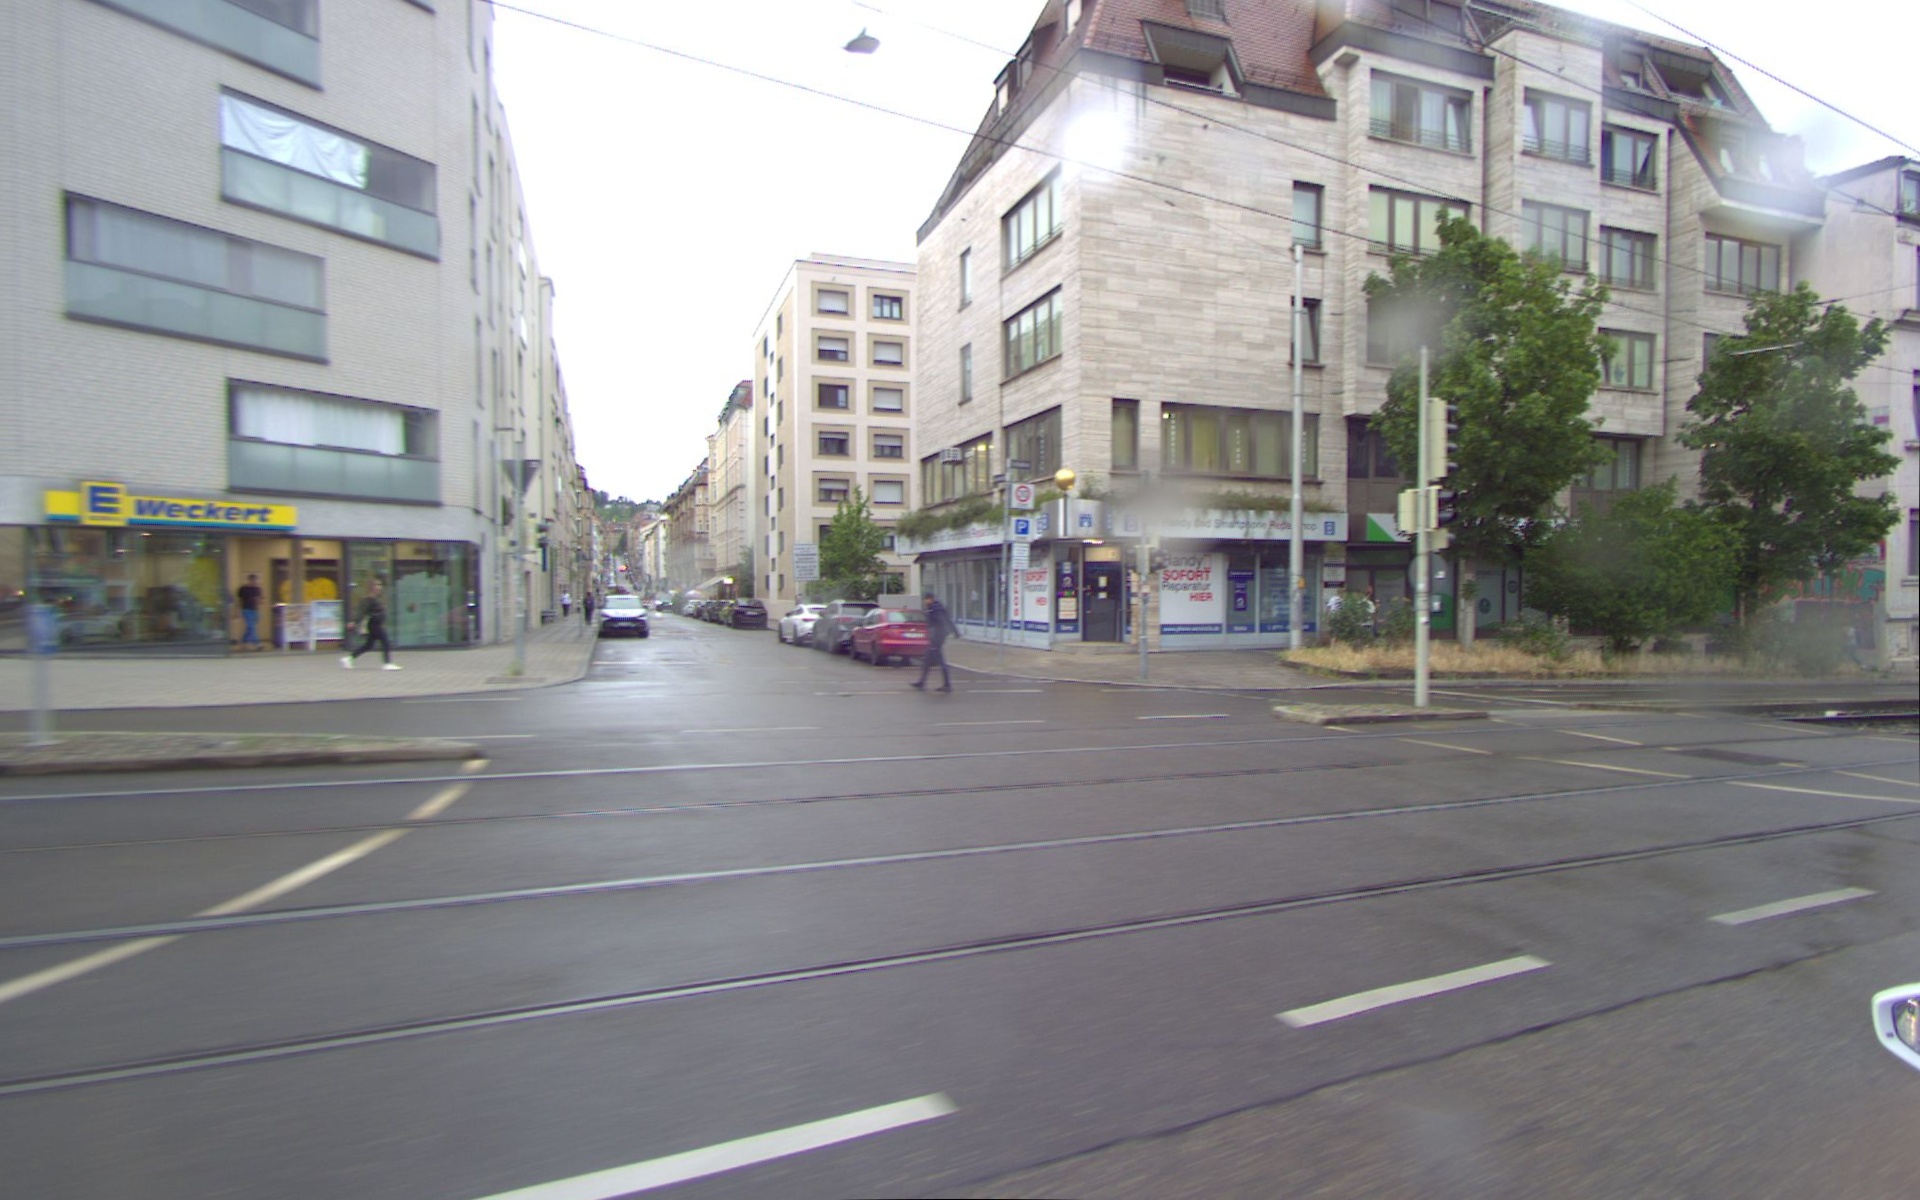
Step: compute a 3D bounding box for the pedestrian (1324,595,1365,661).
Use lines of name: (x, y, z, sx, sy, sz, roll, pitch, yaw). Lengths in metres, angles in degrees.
pedestrian: (10.476, 0.758, 27.350, 0.674, 1.747, 0.646, 3, 2, -22)

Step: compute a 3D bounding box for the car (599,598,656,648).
car: (-13.080, 0.875, 39.658, 1.968, 1.617, 3.984, 3, 2, -17)

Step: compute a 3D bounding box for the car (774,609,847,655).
car: (-5.295, 1.079, 35.174, 1.570, 1.335, 4.480, 3, 0, -20)

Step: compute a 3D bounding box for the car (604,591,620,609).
car: (-35.513, -0.028, 102.419, 1.389, 1.594, 3.171, 3, 2, -21)

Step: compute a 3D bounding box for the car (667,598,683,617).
car: (-27.440, 0.670, 96.539, 1.360, 1.594, 3.046, 3, 2, -17)

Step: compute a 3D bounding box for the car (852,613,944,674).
car: (-1.662, 1.084, 25.939, 1.568, 1.335, 3.693, 3, 0, -16)

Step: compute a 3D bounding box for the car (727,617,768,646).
car: (-11.350, 1.645, 53.489, 1.570, 1.335, 3.688, 3, 0, -20)

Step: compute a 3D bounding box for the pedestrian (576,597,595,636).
pedestrian: (-19.943, 0.882, 53.510, 0.804, 1.975, 0.855, 3, 2, -20)

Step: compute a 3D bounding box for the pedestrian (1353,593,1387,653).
pedestrian: (11.309, 0.631, 27.723, 0.577, 1.619, 0.503, 3, 2, -22)

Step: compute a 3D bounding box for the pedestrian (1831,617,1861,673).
pedestrian: (27.384, 1.396, 31.044, 0.576, 1.674, 0.465, 3, 2, -32)

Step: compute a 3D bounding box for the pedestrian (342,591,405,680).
pedestrian: (-10.843, 0.645, 18.572, 0.637, 1.590, 0.775, 2, 1, 32)

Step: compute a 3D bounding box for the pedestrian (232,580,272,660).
pedestrian: (-15.772, 0.440, 22.380, 0.581, 1.733, 0.696, 2, 2, -44)

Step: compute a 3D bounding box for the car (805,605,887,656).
car: (-3.524, 0.898, 30.563, 1.570, 1.335, 3.688, 3, 0, -20)

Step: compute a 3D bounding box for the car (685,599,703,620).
car: (-24.050, 0.850, 90.833, 1.360, 1.594, 3.046, 3, 2, -17)

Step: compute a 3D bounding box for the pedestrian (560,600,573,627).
pedestrian: (-24.789, 0.856, 63.285, 0.653, 1.609, 0.538, 3, 2, -18)

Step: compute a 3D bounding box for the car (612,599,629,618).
car: (-32.933, 0.783, 97.448, 1.389, 1.594, 3.171, 3, 2, -21)

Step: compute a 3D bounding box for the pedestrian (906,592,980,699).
pedestrian: (-0.312, 0.812, 17.992, 0.948, 1.854, 0.927, 3, -1, -28)

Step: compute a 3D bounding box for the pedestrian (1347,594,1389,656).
pedestrian: (10.835, 0.667, 26.657, 0.674, 1.569, 0.646, 3, 2, -22)

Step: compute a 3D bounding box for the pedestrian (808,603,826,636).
pedestrian: (-7.109, 0.956, 49.912, 0.640, 1.569, 0.680, 3, 2, -22)
